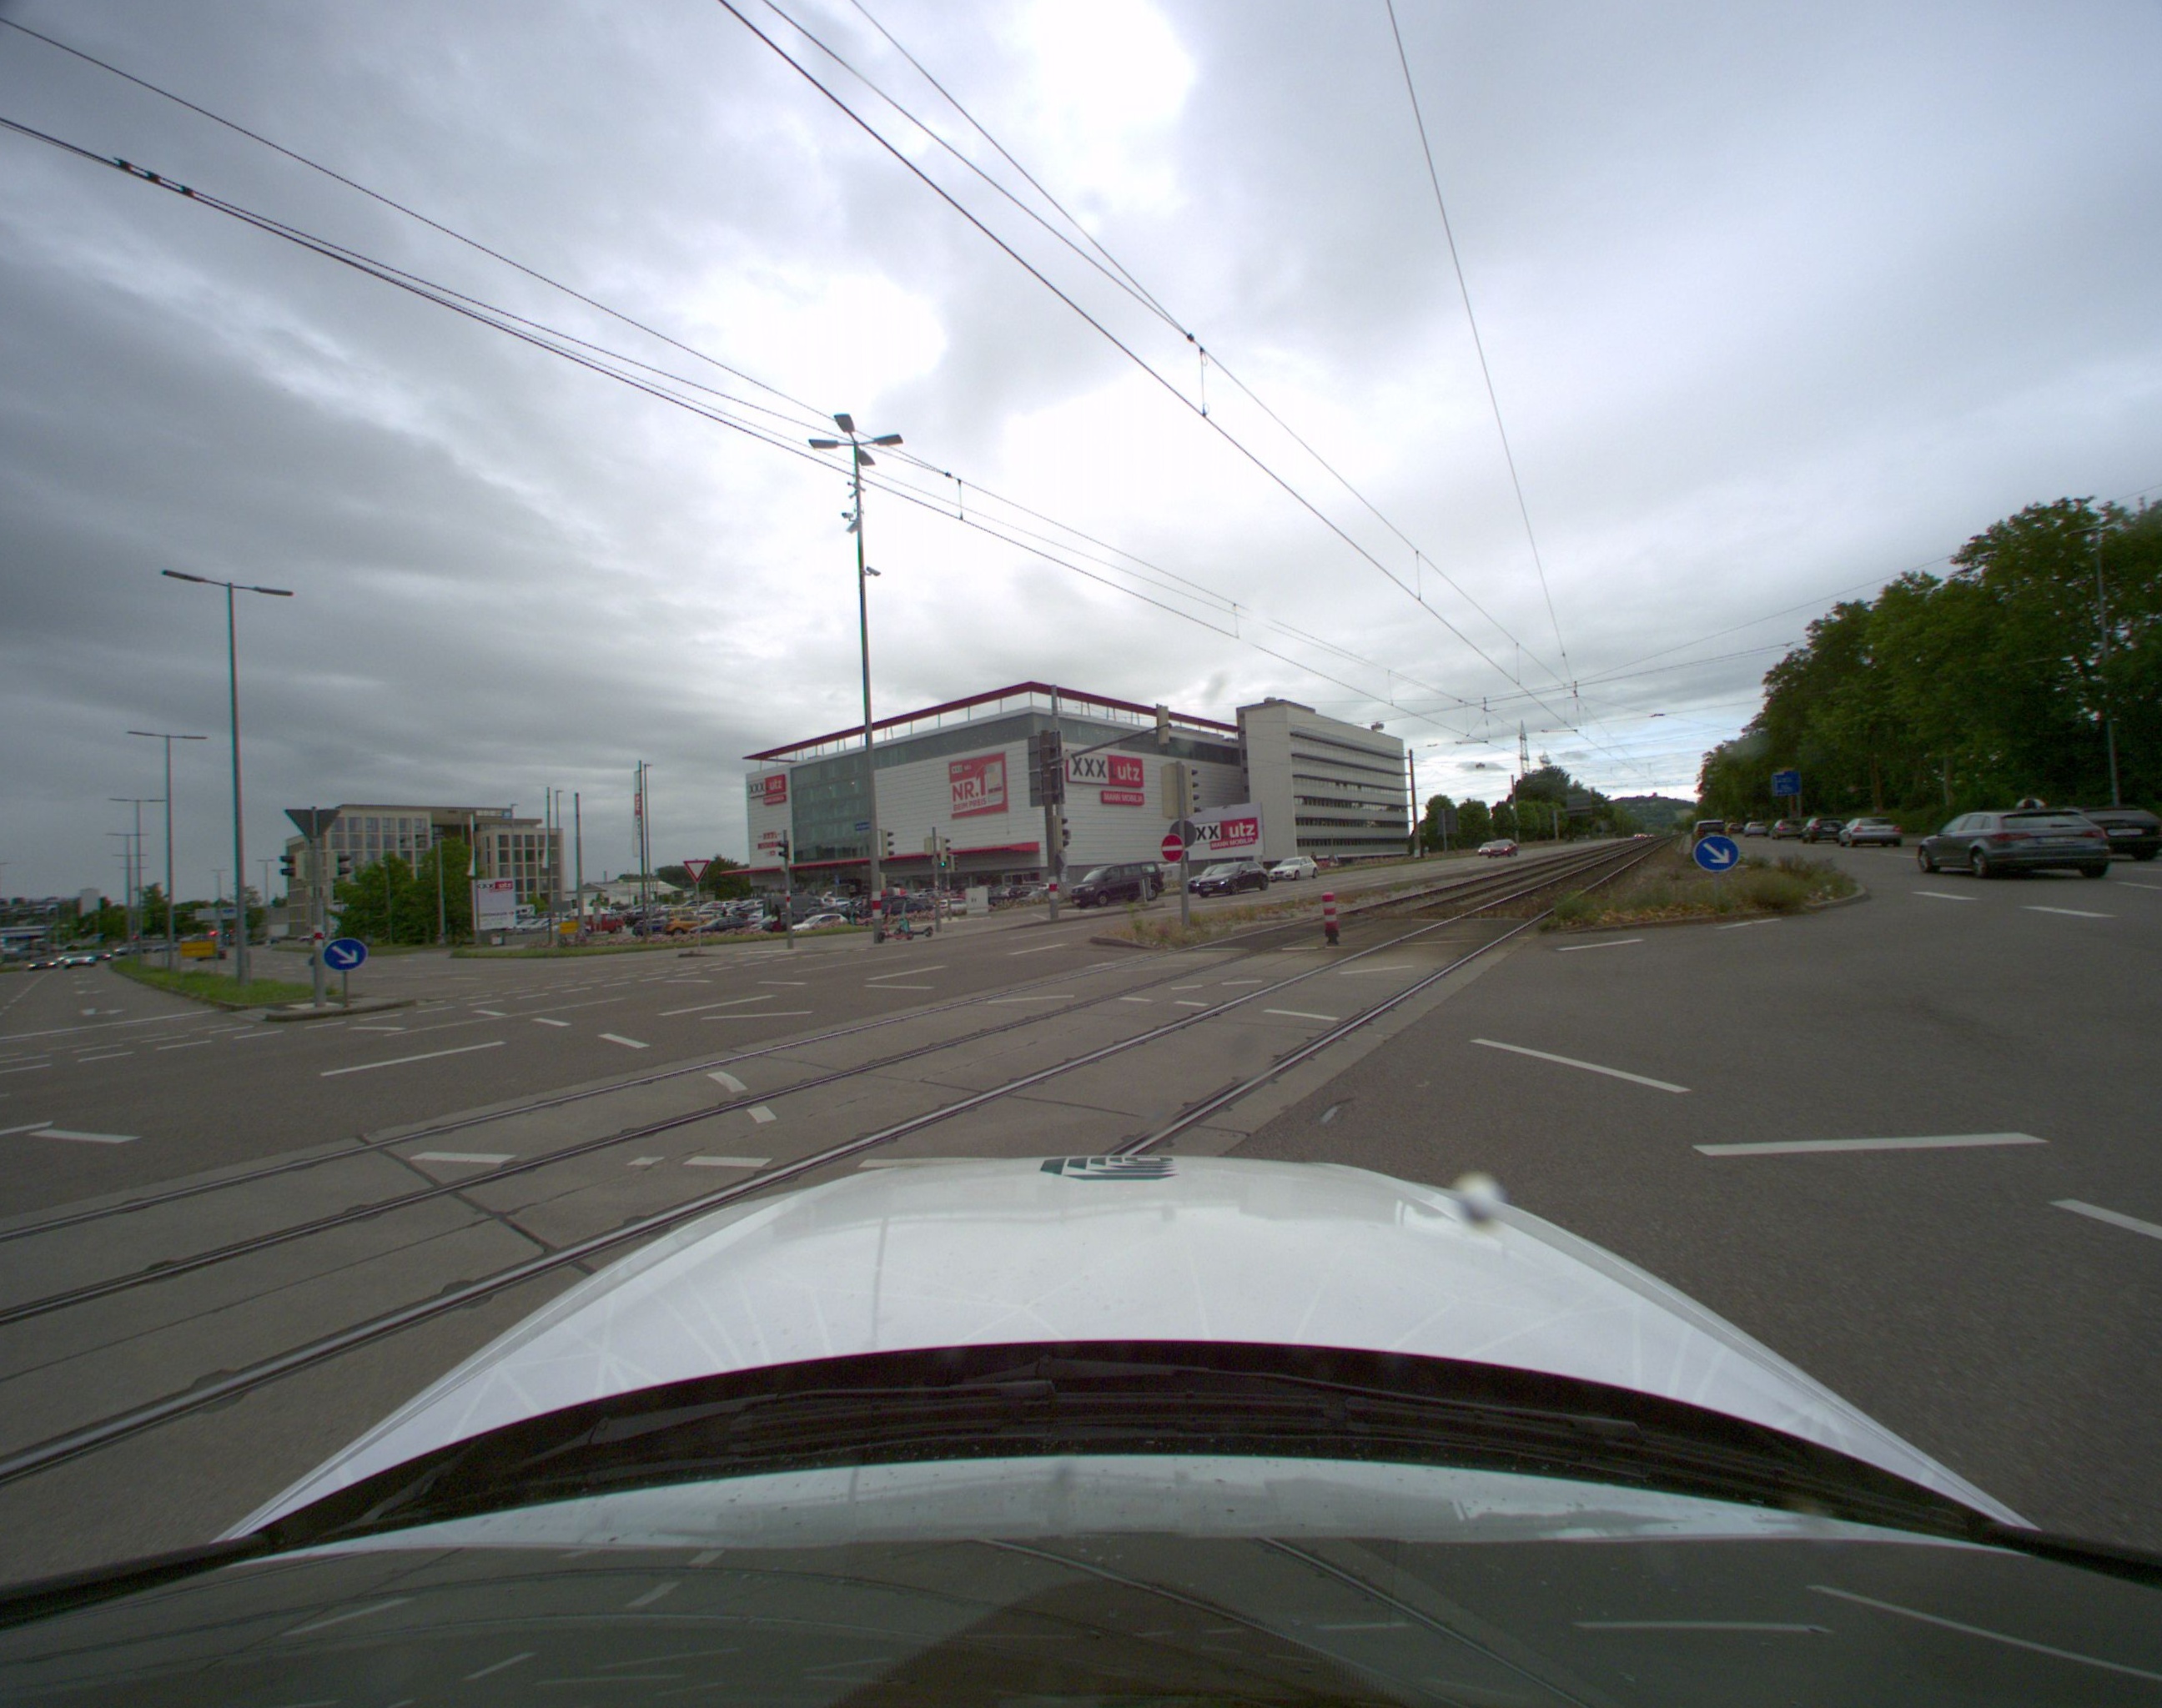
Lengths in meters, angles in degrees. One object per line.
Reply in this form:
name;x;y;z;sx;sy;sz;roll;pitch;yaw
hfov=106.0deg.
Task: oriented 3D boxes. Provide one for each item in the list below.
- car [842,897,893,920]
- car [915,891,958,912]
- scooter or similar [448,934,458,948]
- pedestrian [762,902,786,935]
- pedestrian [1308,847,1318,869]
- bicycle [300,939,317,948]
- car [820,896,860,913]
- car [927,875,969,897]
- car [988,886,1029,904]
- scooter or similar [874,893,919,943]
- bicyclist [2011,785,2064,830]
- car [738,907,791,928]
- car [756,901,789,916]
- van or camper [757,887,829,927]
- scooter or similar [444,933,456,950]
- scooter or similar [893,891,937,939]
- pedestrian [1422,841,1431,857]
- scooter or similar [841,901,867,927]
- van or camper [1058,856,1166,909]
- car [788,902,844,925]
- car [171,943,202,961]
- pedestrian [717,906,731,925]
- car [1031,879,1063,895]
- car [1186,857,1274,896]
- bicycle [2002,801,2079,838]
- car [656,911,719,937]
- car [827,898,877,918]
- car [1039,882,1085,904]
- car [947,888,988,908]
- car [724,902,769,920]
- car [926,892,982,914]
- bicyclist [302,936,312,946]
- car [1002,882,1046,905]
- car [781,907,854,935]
car;-19.209;4.870;73.341;1.861;1.670;4.025;-6;-2;41
car;-14.723;4.820;83.113;1.809;1.862;4.025;-6;-3;40
scooter or similar;-53.310;7.395;69.120;1.232;1.191;0.373;-5;-2;39
pedestrian;-15.825;3.311;41.977;0.709;1.597;0.787;-7;-3;15
pedestrian;19.725;0.354;69.222;0.689;1.790;0.646;-3;-1;22
bicycle;-122.106;14.132;128.737;1.995;1.295;0.703;-3;-2;4
car;-27.685;5.836;93.682;1.810;1.655;4.025;-6;-3;38
car;-14.360;3.448;88.220;1.974;2.013;4.025;-5;-2;41
car;-7.535;4.242;84.596;1.755;1.531;4.025;-5;-1;41
scooter or similar;-5.094;1.760;22.499;1.023;1.256;0.459;-4;-3;-38
bicyclist;34.281;-1.658;29.210;0.808;1.478;1.006;-6;-1;27
car;-28.668;5.723;73.771;1.839;1.552;4.025;-6;-3;41
car;-39.011;6.874;102.953;1.482;1.555;3.579;-5;-2;41
van or camper;-24.911;4.562;70.584;5.428;2.984;1.966;-2;-3;-43
scooter or similar;-57.639;7.982;74.378;0.656;1.421;1.797;-3;-3;-42
scooter or similar;-4.843;1.773;23.753;1.121;1.256;0.317;-4;-3;-38
pedestrian;36.084;-0.561;85.153;0.616;1.654;0.540;-2;-1;-23
scooter or similar;-11.569;3.046;41.438;1.157;1.233;0.346;-4;-4;1
van or camper;1.526;1.380;39.418;4.773;2.013;2.101;-5;-3;-34
car;-22.493;5.014;69.147;1.974;1.568;4.026;-5;-1;40
car;-113.205;12.443;103.048;3.948;2.013;2.013;-5;-1;34
pedestrian;-35.322;6.071;80.548;0.874;1.719;0.948;-3;-1;38
car;-3.922;3.791;94.903;1.629;1.560;3.639;-4;0;41
car;6.834;1.008;37.138;1.814;1.464;4.233;-7;-3;44
bicycle;34.375;-1.226;29.225;0.808;1.185;2.538;-6;0;27
car;-30.619;5.425;63.415;1.792;1.643;4.024;-6;-3;44
car;-21.150;4.953;75.349;1.831;1.556;4.025;-6;-3;40
car;-1.647;3.461;72.163;1.861;1.665;4.026;-5;-2;36
car;-12.066;4.680;87.069;1.797;1.818;4.025;-6;-2;41
car;-35.974;6.153;87.579;1.763;1.635;4.025;-6;-3;41
car;-10.163;3.919;65.400;1.723;1.476;4.237;-6;-3;41
bicyclist;-122.349;13.791;128.759;0.992;1.504;0.703;-3;-2;4
car;-5.754;4.005;82.536;1.925;1.929;4.025;-6;-2;41
car;-16.888;4.253;52.340;1.851;1.446;4.146;-3;-1;38
